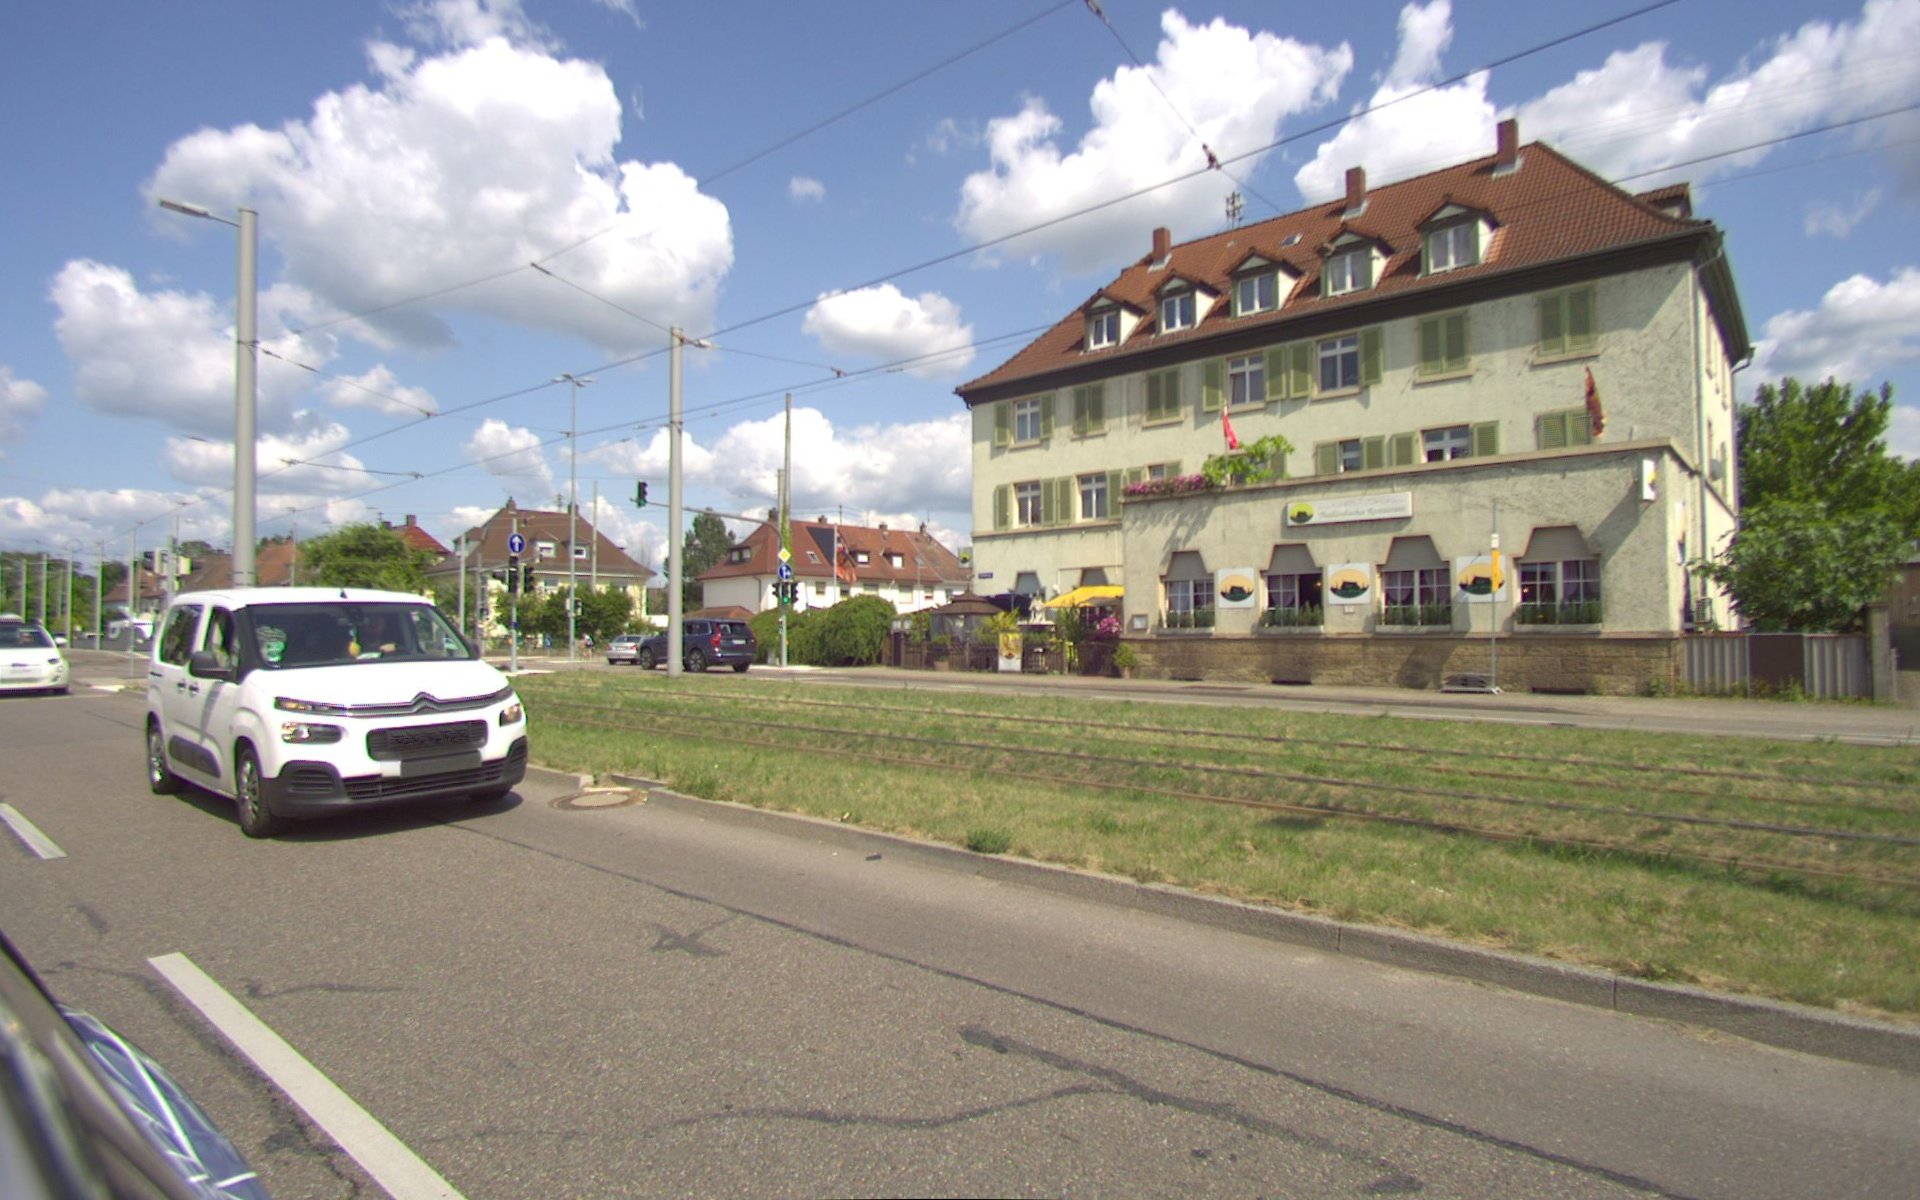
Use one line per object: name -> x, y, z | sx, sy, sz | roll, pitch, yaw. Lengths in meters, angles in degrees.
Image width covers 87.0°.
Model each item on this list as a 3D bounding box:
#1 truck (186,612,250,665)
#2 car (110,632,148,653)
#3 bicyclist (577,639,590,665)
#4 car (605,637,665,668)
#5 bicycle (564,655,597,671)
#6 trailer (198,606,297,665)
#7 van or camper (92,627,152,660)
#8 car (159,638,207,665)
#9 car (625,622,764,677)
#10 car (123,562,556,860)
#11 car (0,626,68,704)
truck -> -56.403, 2.970, 76.874 | 5.664, 3.851, 2.571 | -3, -6, 41
car -> -68.266, 3.485, 83.135 | 4.471, 1.649, 1.775 | -2, -3, 43
bicyclist -> -22.578, 3.099, 60.728 | 0.602, 1.509, 0.494 | -2, -1, 43
car -> -15.449, 2.477, 48.326 | 1.773, 1.398, 4.476 | 1, -2, -5
bicycle -> -22.695, 3.760, 60.597 | 0.602, 0.841, 1.784 | -2, -1, 42
trailer -> -50.741, 2.650, 71.884 | 12.828, 3.851, 2.572 | -3, -6, 41
van or camper -> -78.633, 4.060, 94.914 | 7.736, 2.952, 2.304 | -2, -2, 35
car -> -56.491, 3.712, 73.534 | 4.709, 1.829, 1.776 | -1, -3, 40
car -> -8.927, 1.631, 33.862 | 4.932, 1.725, 1.994 | -1, -3, 40
car -> -5.253, 0.718, 8.309 | 4.326, 1.829, 1.776 | -1, -1, 40
car -> -20.207, 1.344, 21.206 | 3.388, 1.515, 1.660 | -2, -1, 38
